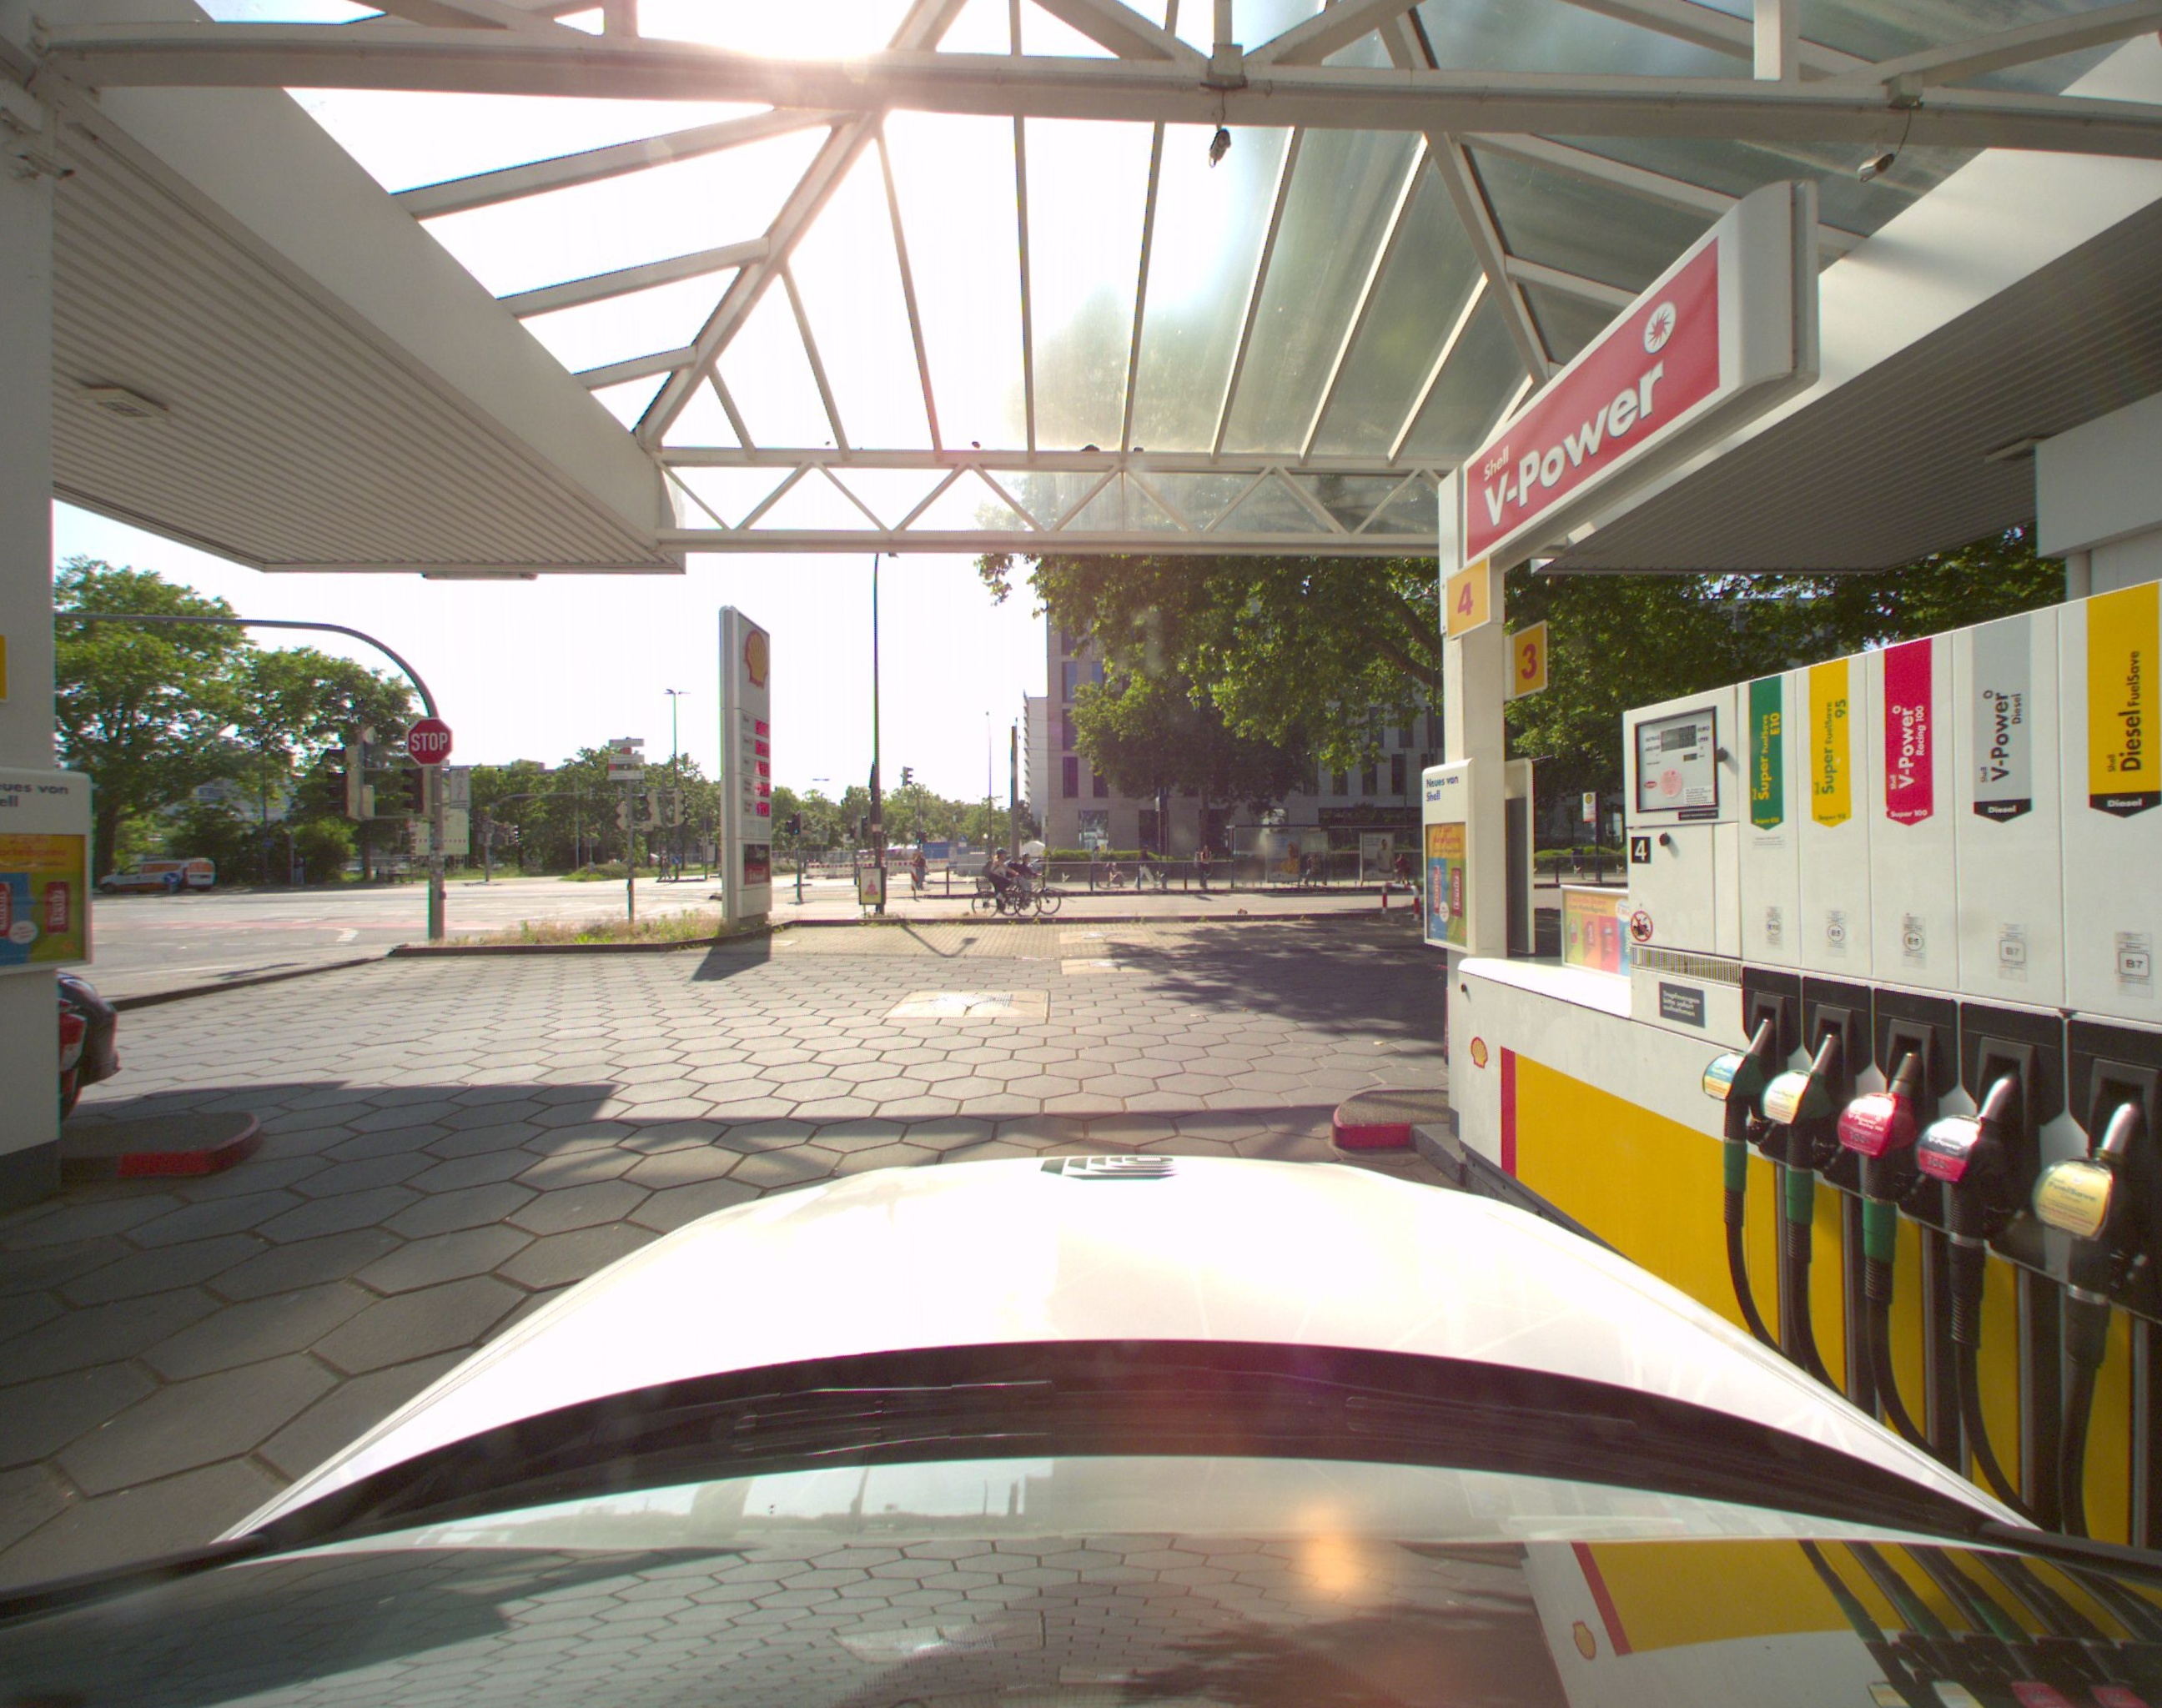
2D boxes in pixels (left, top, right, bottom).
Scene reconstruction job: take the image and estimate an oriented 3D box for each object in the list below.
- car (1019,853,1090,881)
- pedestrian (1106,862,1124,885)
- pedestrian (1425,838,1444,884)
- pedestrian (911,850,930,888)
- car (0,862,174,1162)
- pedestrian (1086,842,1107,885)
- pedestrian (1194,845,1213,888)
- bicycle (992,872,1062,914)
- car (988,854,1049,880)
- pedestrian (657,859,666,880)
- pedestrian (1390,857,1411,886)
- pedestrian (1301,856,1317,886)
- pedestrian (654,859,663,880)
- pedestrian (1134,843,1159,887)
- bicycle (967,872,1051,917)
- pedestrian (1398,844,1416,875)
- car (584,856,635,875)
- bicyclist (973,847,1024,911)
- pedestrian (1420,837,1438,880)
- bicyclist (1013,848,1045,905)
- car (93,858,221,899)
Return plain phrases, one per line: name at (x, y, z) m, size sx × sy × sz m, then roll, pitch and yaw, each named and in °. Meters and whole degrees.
car at (-1.573, 0.732, 47.471) m, size 3.984 × 1.552 × 1.699 m, roll -1°, pitch 0°, yaw -8°
pedestrian at (1.352, 0.763, 32.254) m, size 0.687 × 0.880 × 0.504 m, roll -1°, pitch 0°, yaw 6°
pedestrian at (13.744, 0.267, 31.656) m, size 0.497 × 1.735 × 0.524 m, roll -1°, pitch 0°, yaw 1°
pedestrian at (-6.593, 0.611, 33.485) m, size 0.647 × 1.540 × 0.504 m, roll -1°, pitch 0°, yaw 7°
car at (-6.374, 0.830, 2.950) m, size 1.739 × 1.532 × 3.996 m, roll -2°, pitch 0°, yaw -2°
pedestrian at (0.621, 0.375, 32.342) m, size 0.772 × 1.683 × 0.504 m, roll -1°, pitch 0°, yaw 7°
pedestrian at (4.678, 0.460, 31.137) m, size 0.582 × 1.591 × 0.669 m, roll -1°, pitch 1°, yaw -3°
bicycle at (-1.472, 1.057, 22.294) m, size 1.857 × 1.082 × 0.524 m, roll -1°, pitch 0°, yaw -4°
car at (-3.879, 0.803, 50.552) m, size 3.679 × 1.552 × 1.588 m, roll -1°, pitch 0°, yaw -8°
pedestrian at (-29.345, 1.075, 56.937) m, size 0.566 × 1.469 × 0.509 m, roll -1°, pitch 0°, yaw -27°
pedestrian at (12.435, 0.677, 31.714) m, size 0.625 × 1.138 × 0.525 m, roll -1°, pitch 0°, yaw 4°
pedestrian at (8.826, 0.656, 31.475) m, size 0.496 × 1.138 × 0.525 m, roll -1°, pitch 0°, yaw 4°
pedestrian at (-30.065, 1.073, 57.973) m, size 0.566 × 1.469 × 0.509 m, roll -1°, pitch 0°, yaw -27°
pedestrian at (2.542, 0.416, 31.630) m, size 0.927 × 1.683 × 0.504 m, roll -1°, pitch 0°, yaw 7°
bicycle at (-1.803, 1.019, 20.569) m, size 2.009 × 1.082 × 0.641 m, roll -1°, pitch 0°, yaw 6°
pedestrian at (12.656, 0.216, 31.629) m, size 0.497 × 1.220 × 0.406 m, roll -1°, pitch 0°, yaw 0°
car at (-48.008, 1.156, 82.927) m, size 3.972 × 1.816 × 2.001 m, roll -3°, pitch 0°, yaw 2°
bicyclist at (-2.079, 0.627, 20.597) m, size 1.163 × 1.580 × 0.641 m, roll -1°, pitch 0°, yaw 6°
pedestrian at (14.183, 0.168, 33.187) m, size 0.497 × 1.735 × 0.524 m, roll -1°, pitch 0°, yaw 1°
bicyclist at (-1.424, 0.604, 22.352) m, size 0.861 × 1.544 × 0.534 m, roll 0°, pitch -1°, yaw -3°
car at (-51.045, 1.319, 45.076) m, size 4.426 × 2.013 × 1.996 m, roll -3°, pitch 0°, yaw -5°
